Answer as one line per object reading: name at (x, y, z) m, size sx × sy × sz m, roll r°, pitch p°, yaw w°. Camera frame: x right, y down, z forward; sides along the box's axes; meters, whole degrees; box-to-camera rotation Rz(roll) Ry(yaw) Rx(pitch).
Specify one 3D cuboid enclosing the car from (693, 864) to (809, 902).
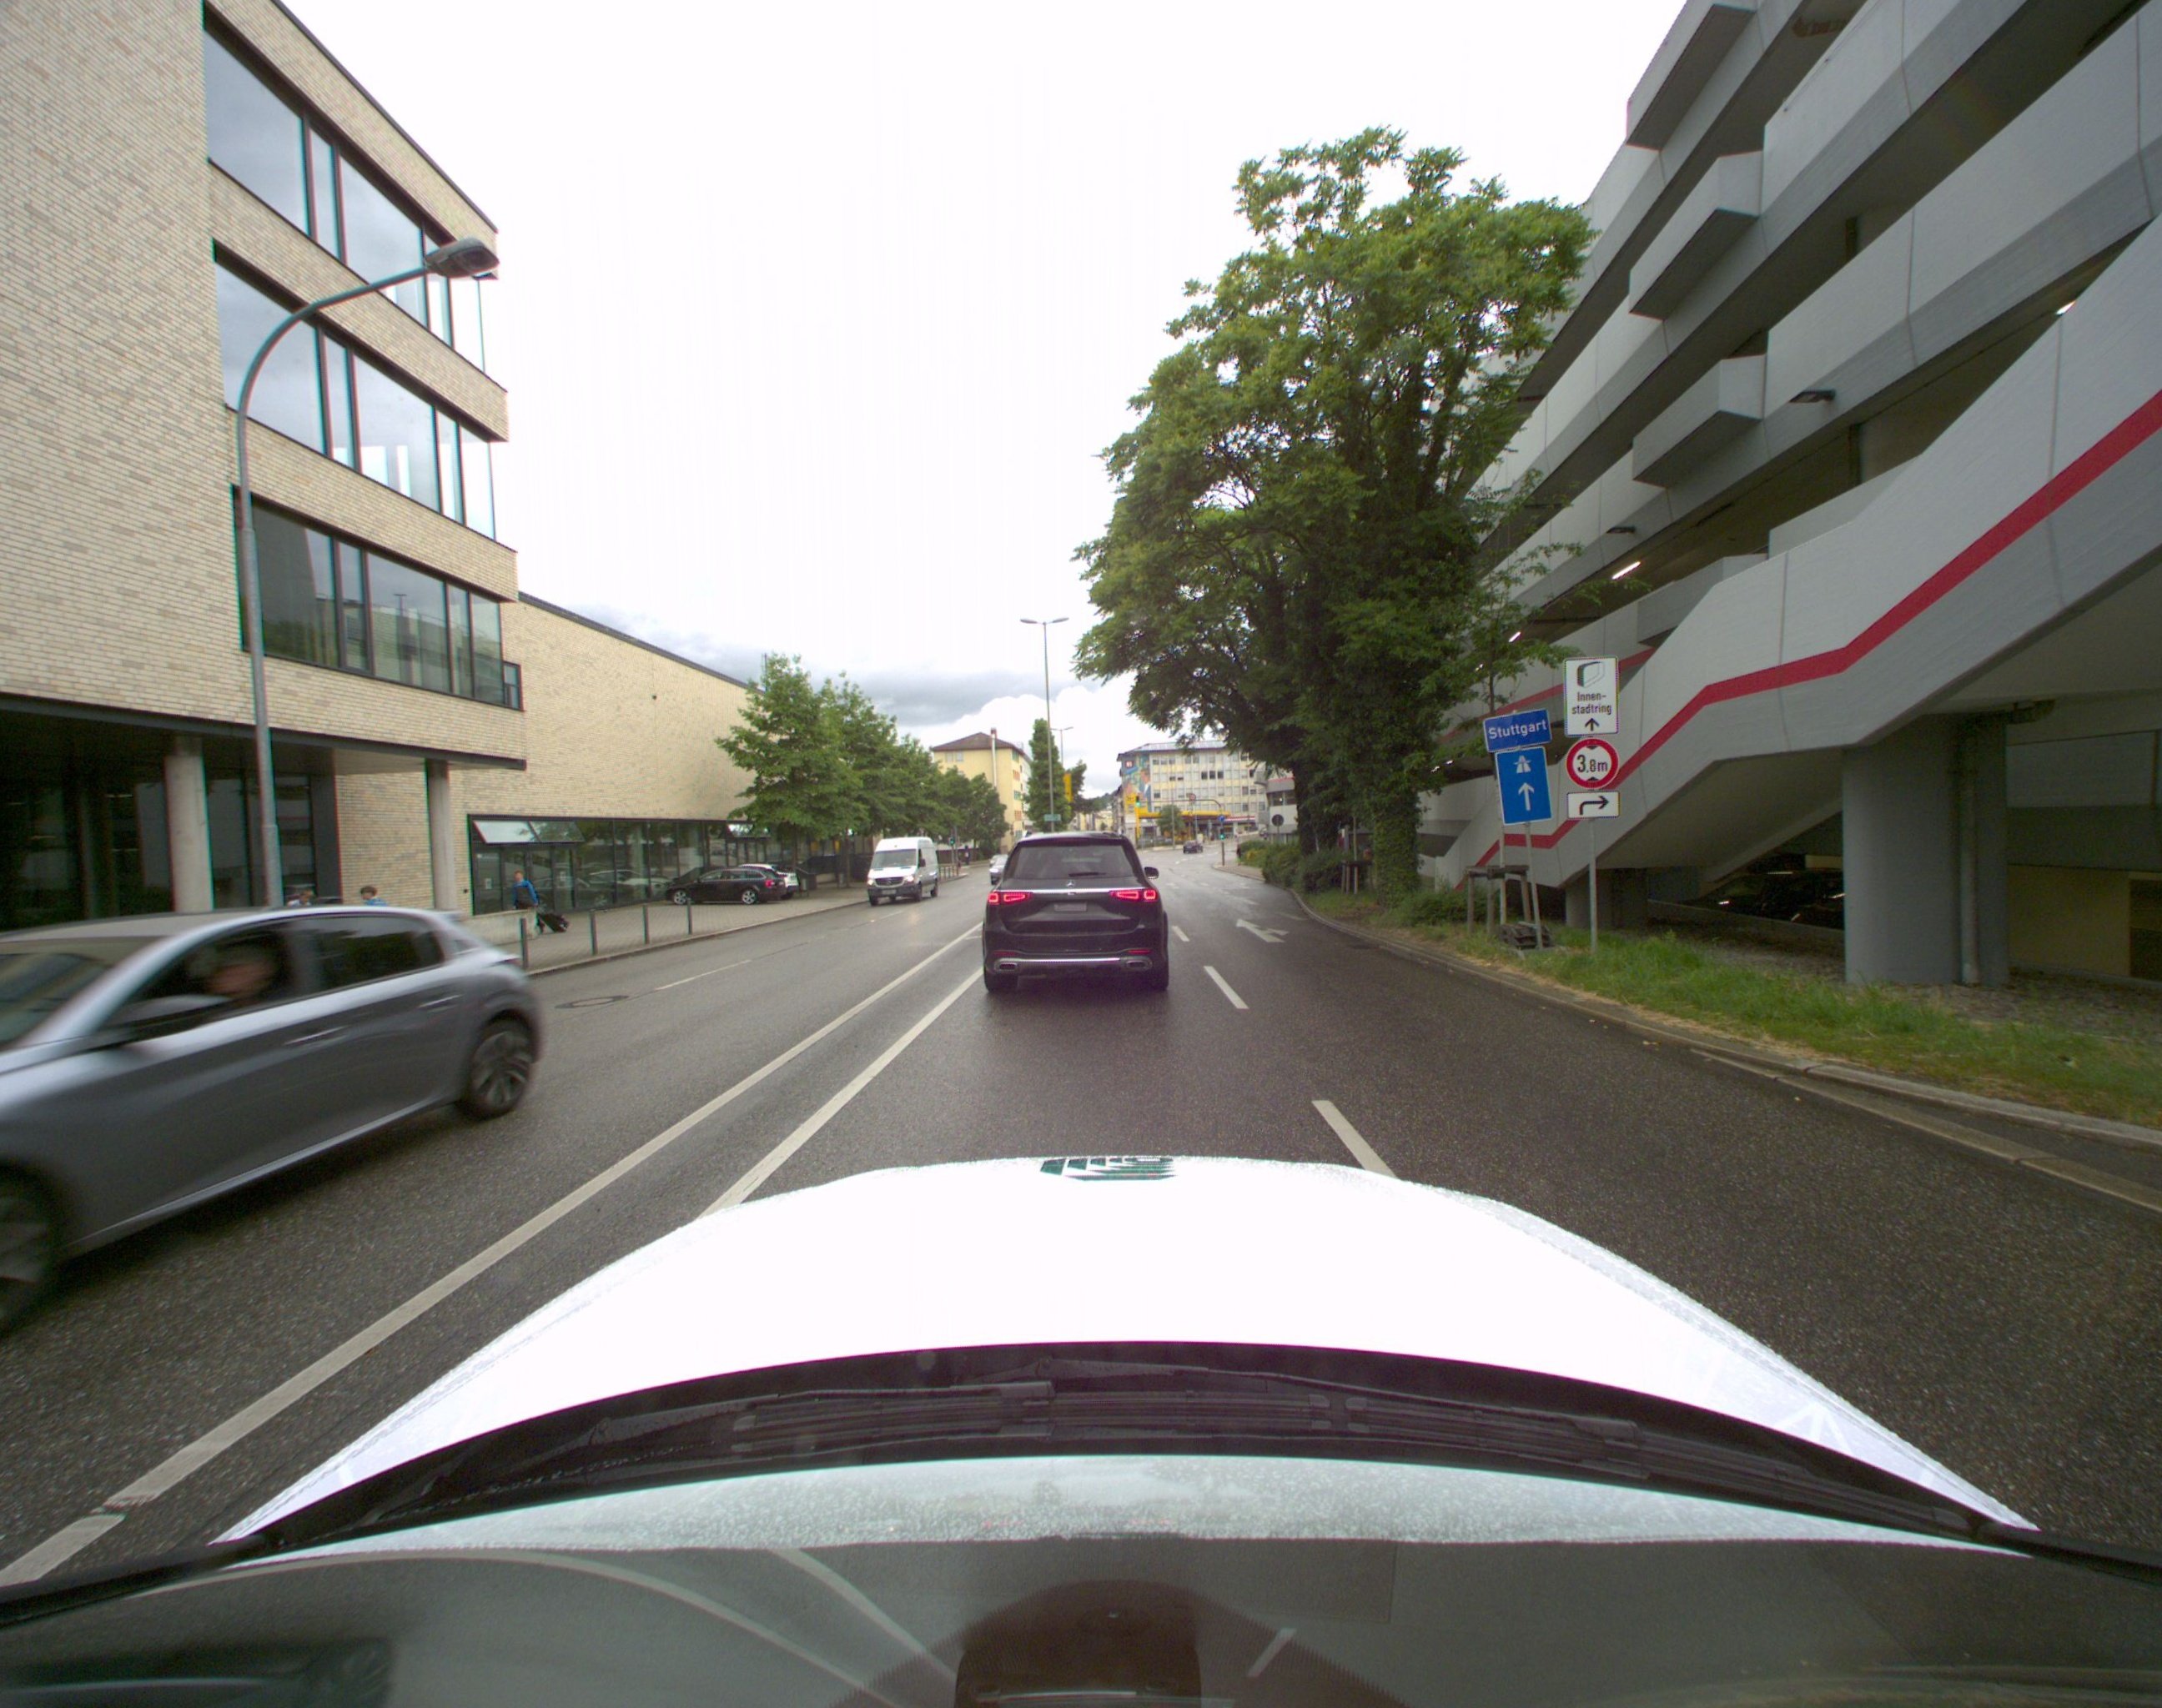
car at (-14.180, 1.236, 35.162) m, size 4.158 × 1.547 × 2.002 m, roll 0°, pitch -1°, yaw 3°

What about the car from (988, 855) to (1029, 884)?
car at (-4.086, 0.845, 46.473) m, size 1.877 × 1.498 × 4.560 m, roll -4°, pitch 0°, yaw -1°

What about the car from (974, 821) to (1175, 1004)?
car at (-0.004, 0.597, 10.075) m, size 1.986 × 1.800 × 4.001 m, roll 0°, pitch -1°, yaw 2°

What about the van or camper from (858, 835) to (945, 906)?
van or camper at (-7.287, 0.625, 33.758) m, size 2.095 × 2.582 × 5.907 m, roll -4°, pitch 0°, yaw 0°

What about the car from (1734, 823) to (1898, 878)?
car at (26.208, -0.127, 29.204) m, size 3.958 × 1.783 × 1.823 m, roll -2°, pitch 0°, yaw 14°

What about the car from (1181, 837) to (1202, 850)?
car at (13.048, -1.278, 95.878) m, size 1.782 × 1.525 × 4.074 m, roll 0°, pitch 1°, yaw 17°

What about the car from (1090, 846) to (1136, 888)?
car at (1.472, 0.567, 37.433) m, size 1.986 × 1.800 × 4.001 m, roll 0°, pitch -1°, yaw 2°

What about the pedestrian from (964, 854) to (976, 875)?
pedestrian at (-9.430, 0.890, 69.320) m, size 0.948 × 1.704 × 0.709 m, roll 0°, pitch -1°, yaw -16°

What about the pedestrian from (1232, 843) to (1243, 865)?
pedestrian at (12.538, -0.013, 65.285) m, size 0.639 × 1.710 × 0.474 m, roll -2°, pitch -1°, yaw 38°

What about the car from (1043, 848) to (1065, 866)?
car at (-3.013, 0.346, 91.849) m, size 1.882 × 1.811 × 4.581 m, roll -4°, pitch 0°, yaw 5°

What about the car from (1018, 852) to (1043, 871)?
car at (-4.337, 0.639, 70.181) m, size 1.806 × 1.462 × 4.286 m, roll -4°, pitch 0°, yaw -1°

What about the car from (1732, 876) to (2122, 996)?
car at (12.944, 1.233, 12.721) m, size 3.966 × 1.624 × 1.842 m, roll -1°, pitch 0°, yaw 6°

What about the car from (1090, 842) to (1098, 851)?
car at (3.206, -1.855, 200.621) m, size 1.985 × 2.014 × 4.003 m, roll 0°, pitch -1°, yaw 3°

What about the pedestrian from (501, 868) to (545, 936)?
pedestrian at (-14.369, 1.230, 20.977) m, size 0.632 × 1.714 × 0.705 m, roll 0°, pitch -1°, yaw 4°

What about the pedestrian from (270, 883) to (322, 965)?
pedestrian at (-14.488, 1.277, 15.037) m, size 0.440 × 1.475 × 0.528 m, roll 0°, pitch -1°, yaw -3°

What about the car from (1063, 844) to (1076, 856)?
car at (-1.724, -0.629, 126.110) m, size 1.862 × 1.839 × 3.819 m, roll 0°, pitch -1°, yaw 0°

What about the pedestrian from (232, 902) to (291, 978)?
pedestrian at (-13.572, 1.414, 13.494) m, size 0.546 × 1.215 × 0.422 m, roll 0°, pitch -1°, yaw 4°

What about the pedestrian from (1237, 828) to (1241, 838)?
pedestrian at (26.490, -3.512, 136.456) m, size 0.521 × 1.727 × 0.693 m, roll -2°, pitch 1°, yaw 28°

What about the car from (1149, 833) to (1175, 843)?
car at (12.780, -2.516, 128.490) m, size 1.747 × 1.376 × 3.952 m, roll -4°, pitch 1°, yaw -42°

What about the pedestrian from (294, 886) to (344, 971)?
pedestrian at (-13.525, 1.311, 14.460) m, size 0.448 × 1.475 × 0.463 m, roll 0°, pitch -1°, yaw -4°

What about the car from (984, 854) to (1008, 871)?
car at (-7.739, 0.780, 74.241) m, size 1.792 × 1.495 × 3.802 m, roll 0°, pitch -1°, yaw -1°

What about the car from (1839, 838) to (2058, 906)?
car at (24.800, 0.495, 23.455) m, size 3.958 × 1.783 × 1.823 m, roll -2°, pitch 0°, yaw 14°

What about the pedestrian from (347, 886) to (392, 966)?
pedestrian at (-13.627, 1.368, 15.613) m, size 0.448 × 1.475 × 0.463 m, roll 0°, pitch -1°, yaw -4°

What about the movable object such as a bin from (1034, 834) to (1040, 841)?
movable object such as a bin at (-7.677, -2.874, 141.713) m, size 0.906 × 1.038 × 0.844 m, roll 0°, pitch -1°, yaw 2°

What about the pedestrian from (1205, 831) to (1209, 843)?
pedestrian at (18.616, -2.489, 120.180) m, size 0.570 × 1.697 × 0.631 m, roll 0°, pitch -1°, yaw 3°

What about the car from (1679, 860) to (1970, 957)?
car at (13.908, 0.999, 15.458) m, size 3.713 × 1.540 × 1.815 m, roll -1°, pitch 3°, yaw 7°

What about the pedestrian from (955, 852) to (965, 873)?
pedestrian at (-10.108, 0.690, 68.033) m, size 0.687 × 1.757 × 0.716 m, roll -2°, pitch 1°, yaw -9°

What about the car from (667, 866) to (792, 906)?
car at (-14.083, 1.262, 32.855) m, size 4.169 × 1.495 × 1.997 m, roll 0°, pitch -1°, yaw -5°

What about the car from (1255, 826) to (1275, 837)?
car at (31.200, -3.821, 137.971) m, size 1.974 × 1.705 × 4.026 m, roll -2°, pitch 1°, yaw 35°

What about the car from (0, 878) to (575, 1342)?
car at (-4.540, 0.963, 3.893) m, size 1.735 × 1.470 × 3.882 m, roll -4°, pitch 0°, yaw 0°
